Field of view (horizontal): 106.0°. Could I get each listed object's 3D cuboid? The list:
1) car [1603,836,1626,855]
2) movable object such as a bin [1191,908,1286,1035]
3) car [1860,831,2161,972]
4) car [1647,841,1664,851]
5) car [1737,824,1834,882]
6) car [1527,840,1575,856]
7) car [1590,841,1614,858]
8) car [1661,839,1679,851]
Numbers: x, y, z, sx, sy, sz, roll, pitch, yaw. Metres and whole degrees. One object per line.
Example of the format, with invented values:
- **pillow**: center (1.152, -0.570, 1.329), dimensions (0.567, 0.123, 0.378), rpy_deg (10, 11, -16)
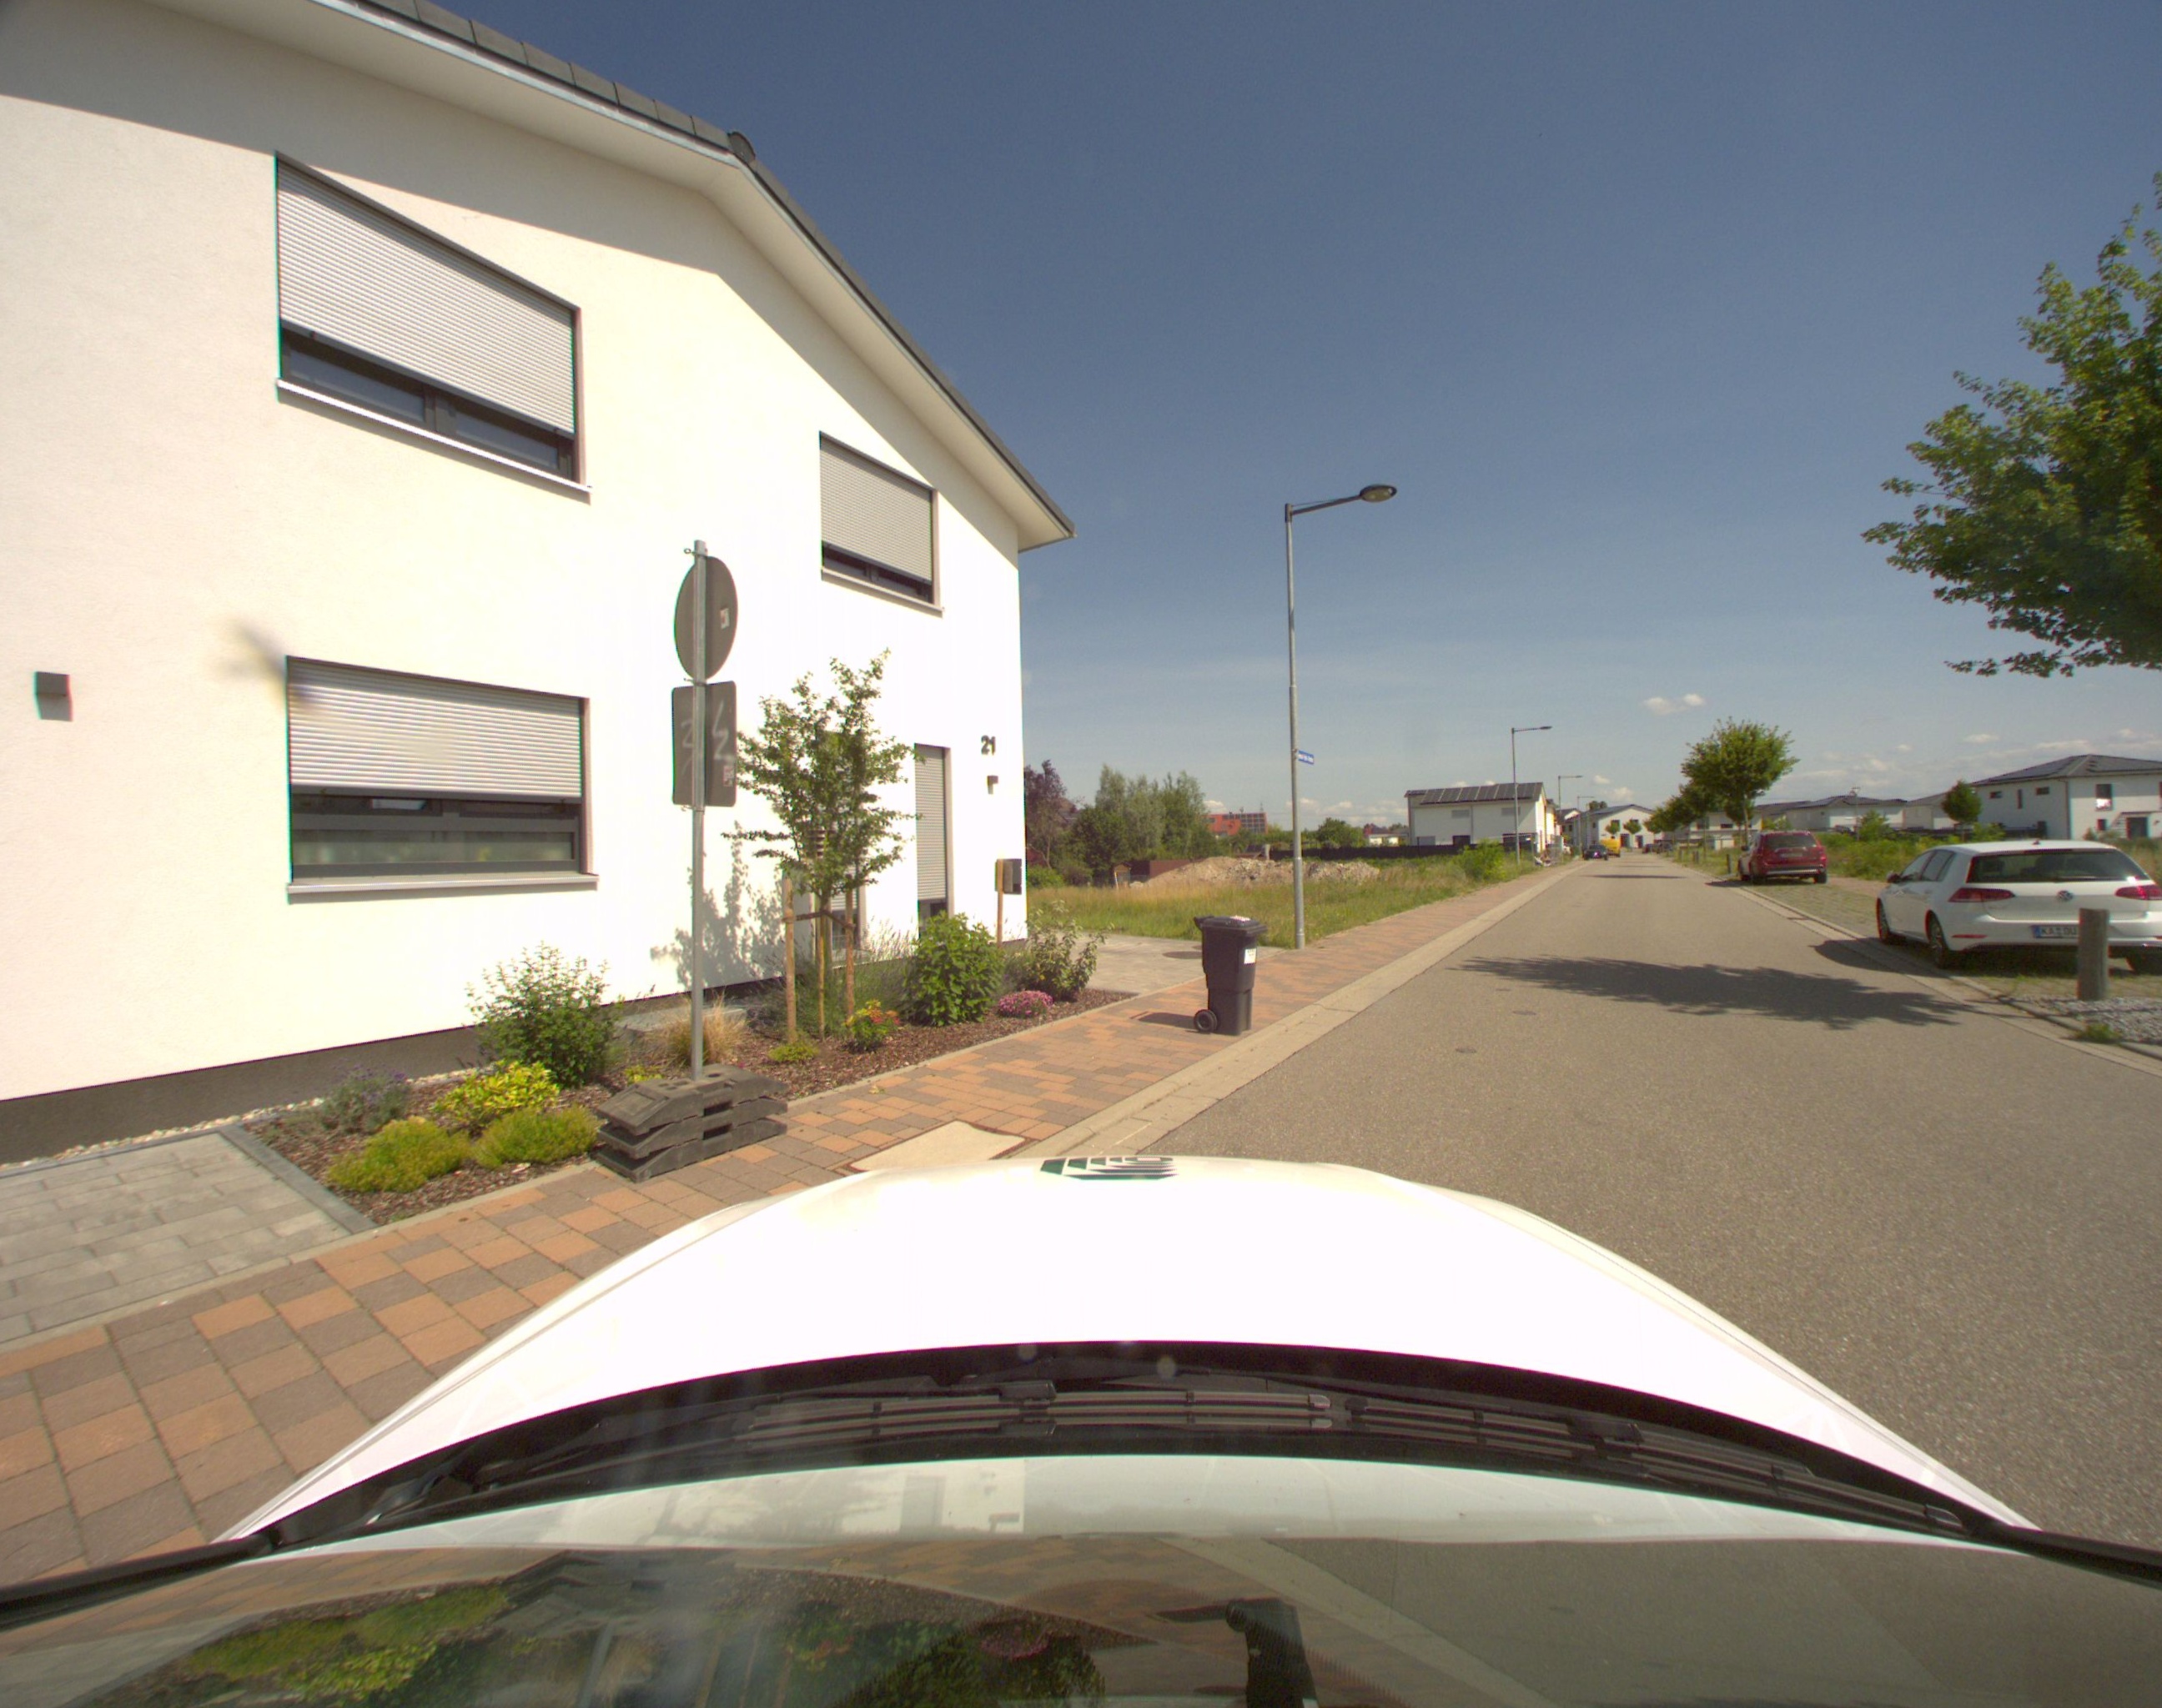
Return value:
- **car**: center (58.795, -0.944, 89.798), dimensions (1.923, 1.981, 4.243), rpy_deg (-2, -1, 30)
- **movable object such as a bin**: center (1.297, 0.936, 6.698), dimensions (0.617, 0.948, 0.503), rpy_deg (-1, -1, 30)
- **car**: center (11.600, 0.475, 10.331), dimensions (1.758, 1.420, 4.192), rpy_deg (-4, -1, 34)
- **car**: center (84.286, -1.214, 119.523), dimensions (1.612, 1.322, 3.856), rpy_deg (-1, -2, 28)
- **car**: center (22.805, -0.068, 26.523), dimensions (1.759, 1.663, 4.462), rpy_deg (-3, -1, 33)
- **car**: center (48.935, -0.626, 84.797), dimensions (4.030, 1.581, 1.795), rpy_deg (0, 2, 40)
- **car**: center (46.973, -0.427, 73.391), dimensions (1.728, 1.405, 4.186), rpy_deg (1, 1, 34)
- **car**: center (74.754, -1.134, 103.344), dimensions (1.623, 1.403, 3.835), rpy_deg (-2, -2, 33)
